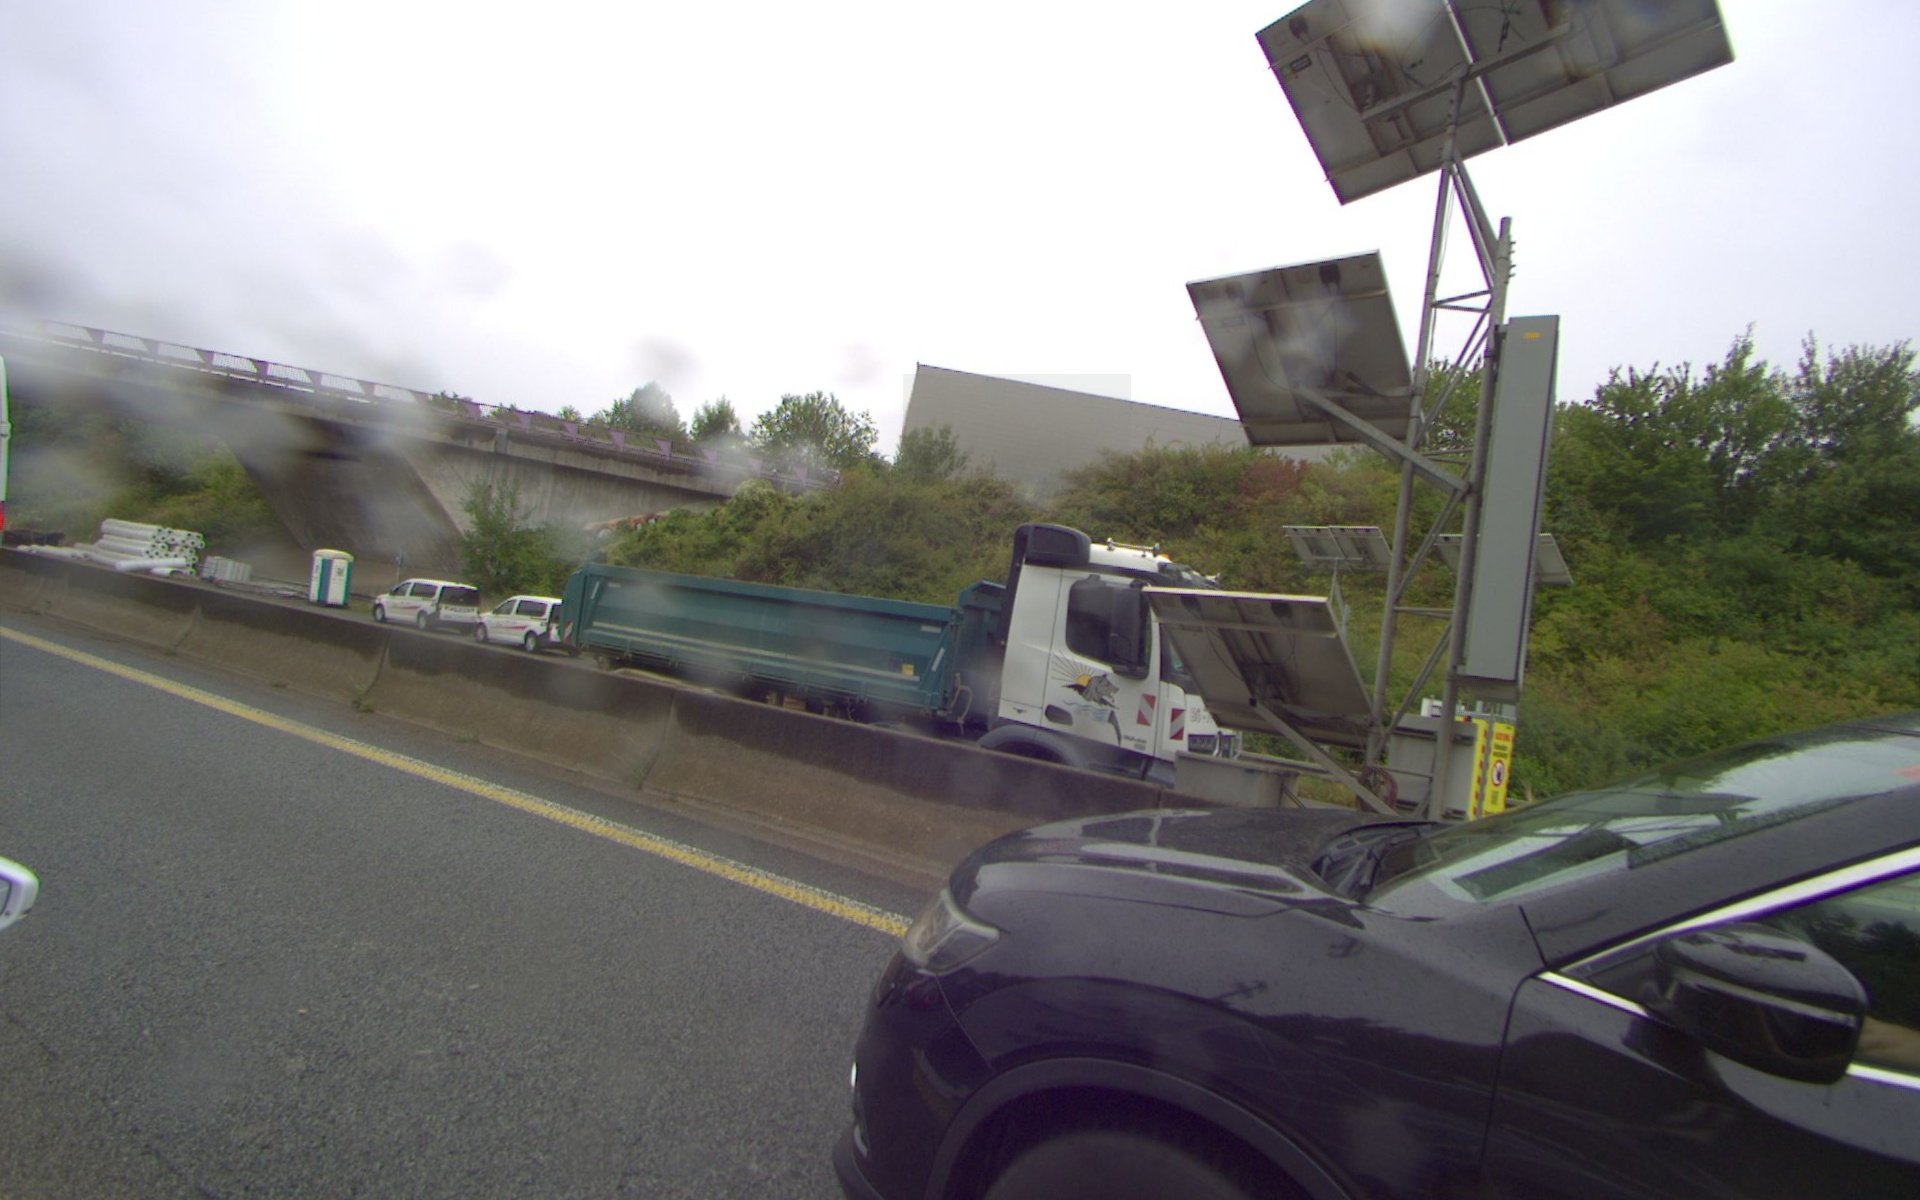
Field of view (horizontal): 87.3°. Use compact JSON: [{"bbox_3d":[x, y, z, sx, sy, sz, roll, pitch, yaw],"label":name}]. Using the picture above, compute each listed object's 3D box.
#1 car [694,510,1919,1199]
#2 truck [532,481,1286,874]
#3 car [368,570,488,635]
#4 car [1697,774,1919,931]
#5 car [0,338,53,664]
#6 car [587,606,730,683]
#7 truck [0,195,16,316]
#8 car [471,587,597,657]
[{"bbox_3d":[1.947,0.964,1.691,4.563,1.694,1.894,6,-2,31],"label":"car"},{"bbox_3d":[-1.090,0.519,12.172,8.967,3.168,2.525,6,-2,32],"label":"truck"},{"bbox_3d":[-19.261,0.076,36.407,4.088,1.829,1.851,6,-2,31],"label":"car"},{"bbox_3d":[14.405,4.059,15.843,4.197,1.778,1.732,6,-2,31],"label":"car"},{"bbox_3d":[-11.039,-1.181,9.284,6.016,2.707,2.148,6,-2,32],"label":"car"},{"bbox_3d":[-9.092,1.317,30.228,4.057,1.745,1.732,6,-2,33],"label":"car"},{"bbox_3d":[-24.145,-4.326,18.823,20.039,5.739,3.987,6,-1,32],"label":"truck"},{"bbox_3d":[-14.081,0.709,33.170,4.058,1.765,1.731,6,-2,34],"label":"car"}]
